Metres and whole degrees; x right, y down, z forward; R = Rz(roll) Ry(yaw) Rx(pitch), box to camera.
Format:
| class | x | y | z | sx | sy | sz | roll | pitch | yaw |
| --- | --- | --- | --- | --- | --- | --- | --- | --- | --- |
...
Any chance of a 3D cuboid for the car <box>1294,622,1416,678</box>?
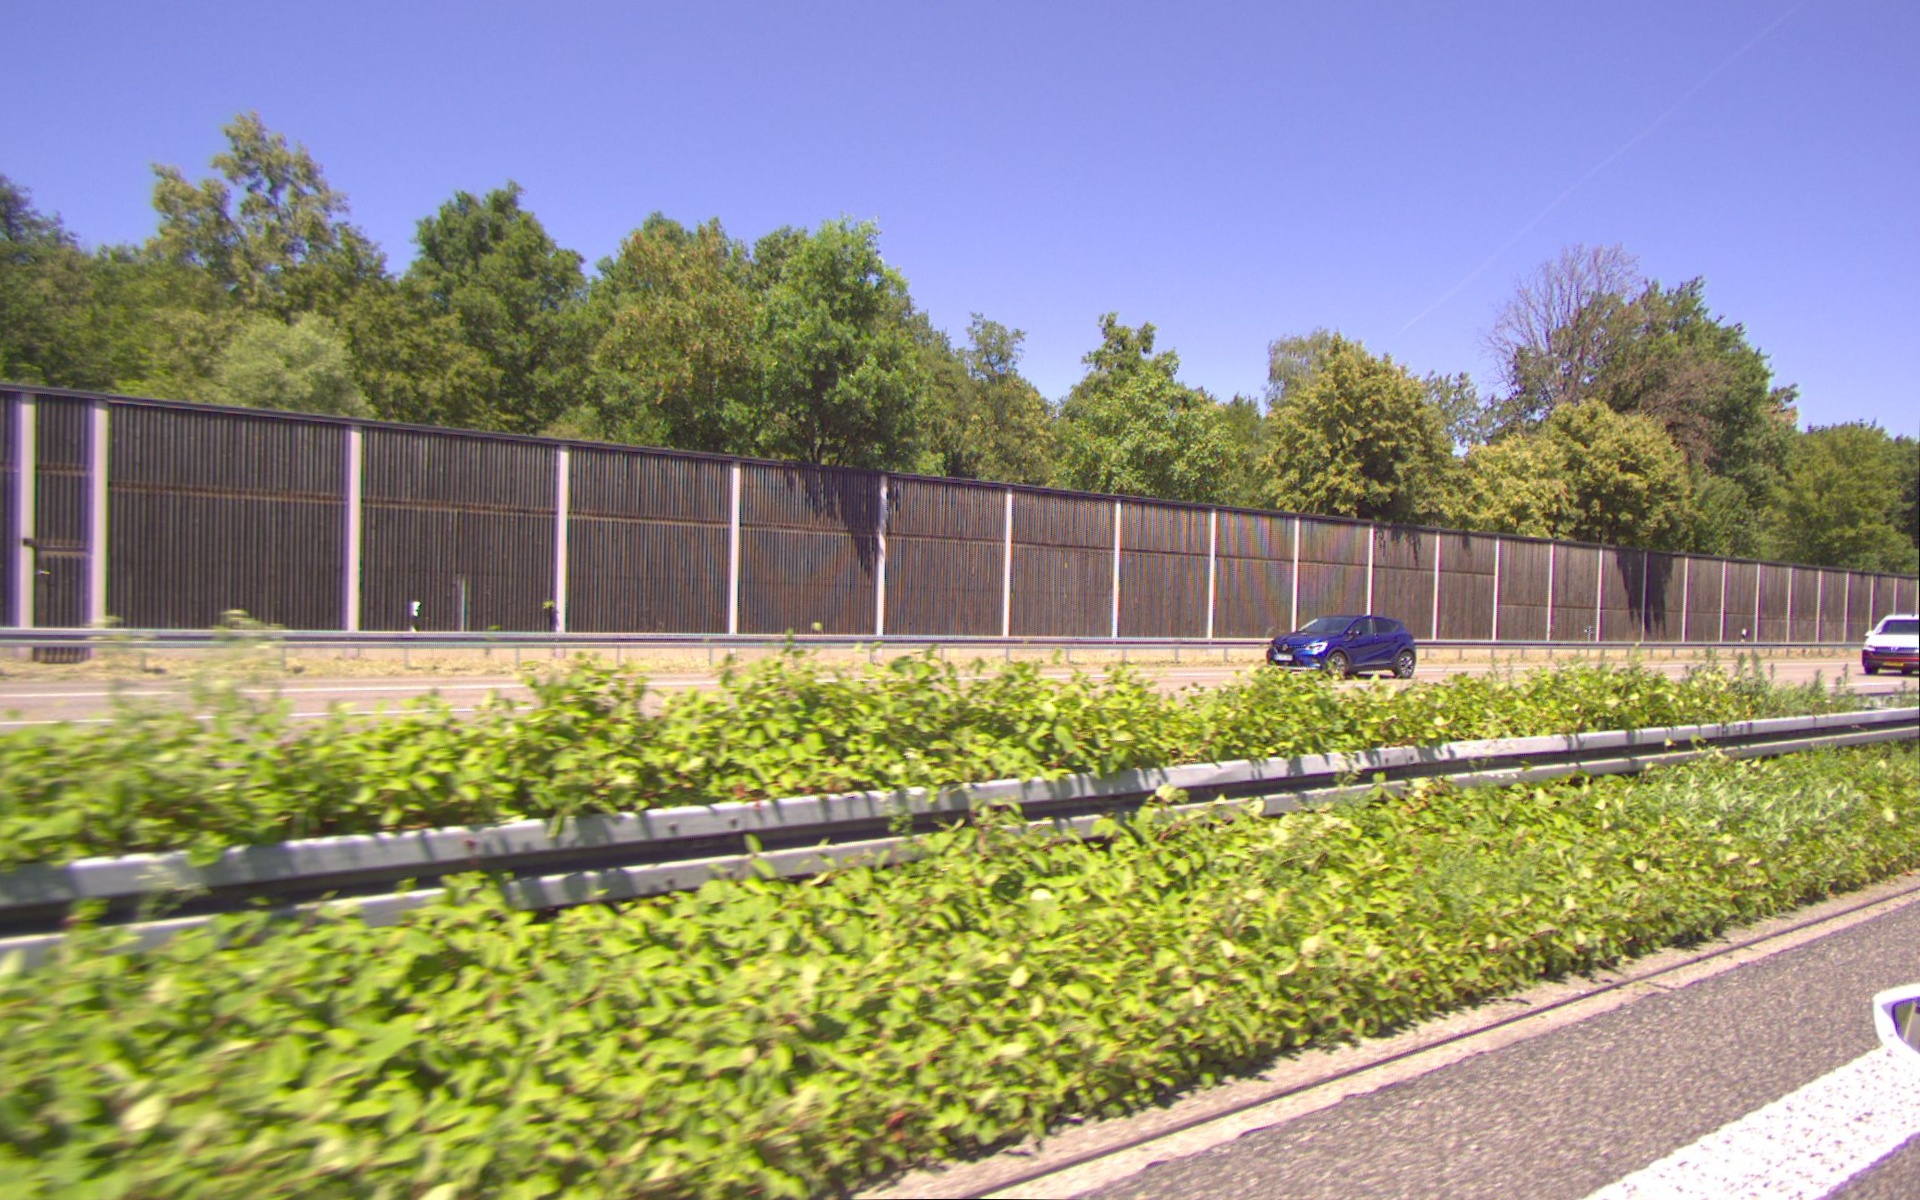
| class | x | y | z | sx | sy | sz | roll | pitch | yaw |
| --- | --- | --- | --- | --- | --- | --- | --- | --- | --- |
| car | 9.755 | 1.222 | 24.739 | 2.995 | 1.272 | 1.272 | 2 | 0 | -32 |

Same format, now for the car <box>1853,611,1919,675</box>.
| class | x | y | z | sx | sy | sz | roll | pitch | yaw |
| --- | --- | --- | --- | --- | --- | --- | --- | --- | --- |
| car | 31.517 | 1.414 | 33.054 | 4.556 | 1.971 | 1.917 | 2 | 0 | -31 |
